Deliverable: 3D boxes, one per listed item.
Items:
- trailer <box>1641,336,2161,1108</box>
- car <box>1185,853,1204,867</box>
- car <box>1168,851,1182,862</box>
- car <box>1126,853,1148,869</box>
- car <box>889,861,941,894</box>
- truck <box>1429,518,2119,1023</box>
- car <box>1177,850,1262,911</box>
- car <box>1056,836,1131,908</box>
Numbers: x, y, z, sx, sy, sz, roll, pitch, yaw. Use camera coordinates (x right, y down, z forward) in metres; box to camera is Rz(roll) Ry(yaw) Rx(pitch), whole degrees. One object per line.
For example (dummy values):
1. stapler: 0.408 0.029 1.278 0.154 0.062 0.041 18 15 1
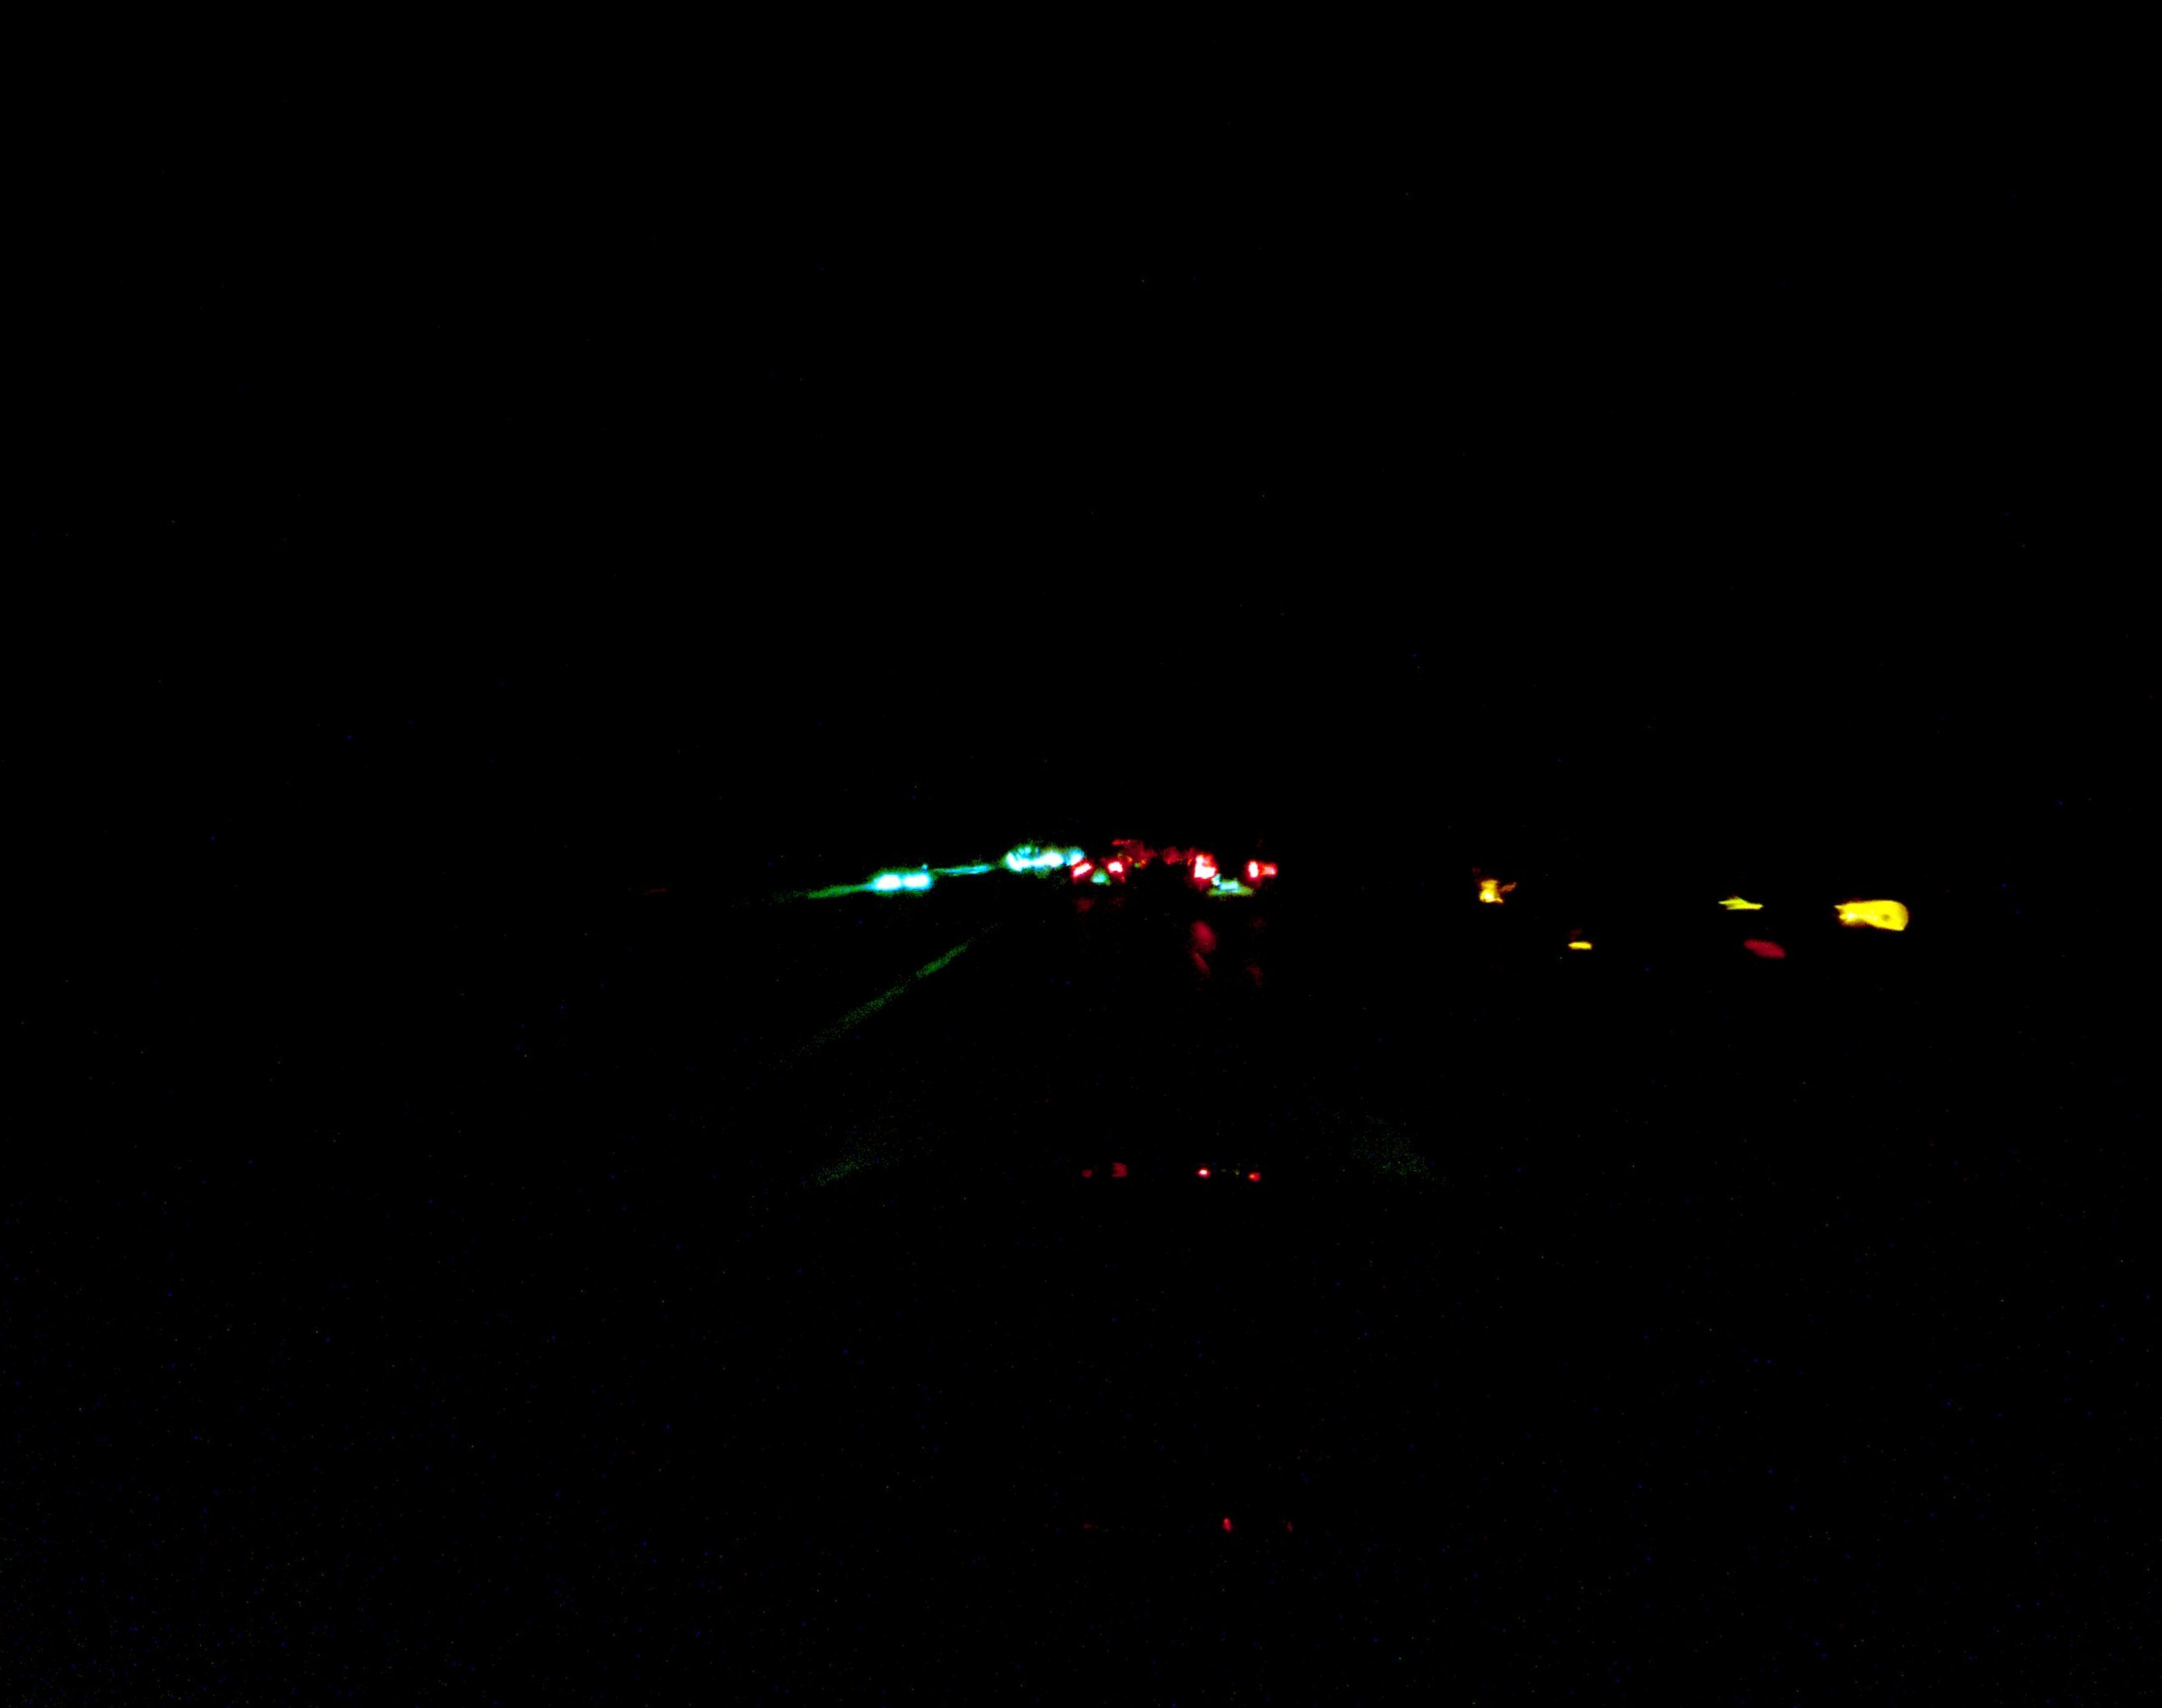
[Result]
1. trailer: 7.249 -0.728 2.634 2.793 4.212 12.100 -1 0 2
2. car: 13.427 0.748 96.248 1.848 1.618 4.002 0 0 2
3. car: 13.910 0.373 120.663 1.848 1.618 4.003 0 0 3
4. car: 5.795 0.690 84.634 2.128 1.618 4.002 0 0 2
5. car: -8.673 1.200 42.877 1.704 1.563 4.296 -2 -1 1
6. truck: 7.484 -0.714 10.657 2.793 4.267 7.450 -1 0 1
7. car: 3.916 0.705 23.636 1.877 1.588 4.001 -1 0 1
8. car: 0.478 0.659 33.469 2.701 2.534 5.830 -3 0 0
